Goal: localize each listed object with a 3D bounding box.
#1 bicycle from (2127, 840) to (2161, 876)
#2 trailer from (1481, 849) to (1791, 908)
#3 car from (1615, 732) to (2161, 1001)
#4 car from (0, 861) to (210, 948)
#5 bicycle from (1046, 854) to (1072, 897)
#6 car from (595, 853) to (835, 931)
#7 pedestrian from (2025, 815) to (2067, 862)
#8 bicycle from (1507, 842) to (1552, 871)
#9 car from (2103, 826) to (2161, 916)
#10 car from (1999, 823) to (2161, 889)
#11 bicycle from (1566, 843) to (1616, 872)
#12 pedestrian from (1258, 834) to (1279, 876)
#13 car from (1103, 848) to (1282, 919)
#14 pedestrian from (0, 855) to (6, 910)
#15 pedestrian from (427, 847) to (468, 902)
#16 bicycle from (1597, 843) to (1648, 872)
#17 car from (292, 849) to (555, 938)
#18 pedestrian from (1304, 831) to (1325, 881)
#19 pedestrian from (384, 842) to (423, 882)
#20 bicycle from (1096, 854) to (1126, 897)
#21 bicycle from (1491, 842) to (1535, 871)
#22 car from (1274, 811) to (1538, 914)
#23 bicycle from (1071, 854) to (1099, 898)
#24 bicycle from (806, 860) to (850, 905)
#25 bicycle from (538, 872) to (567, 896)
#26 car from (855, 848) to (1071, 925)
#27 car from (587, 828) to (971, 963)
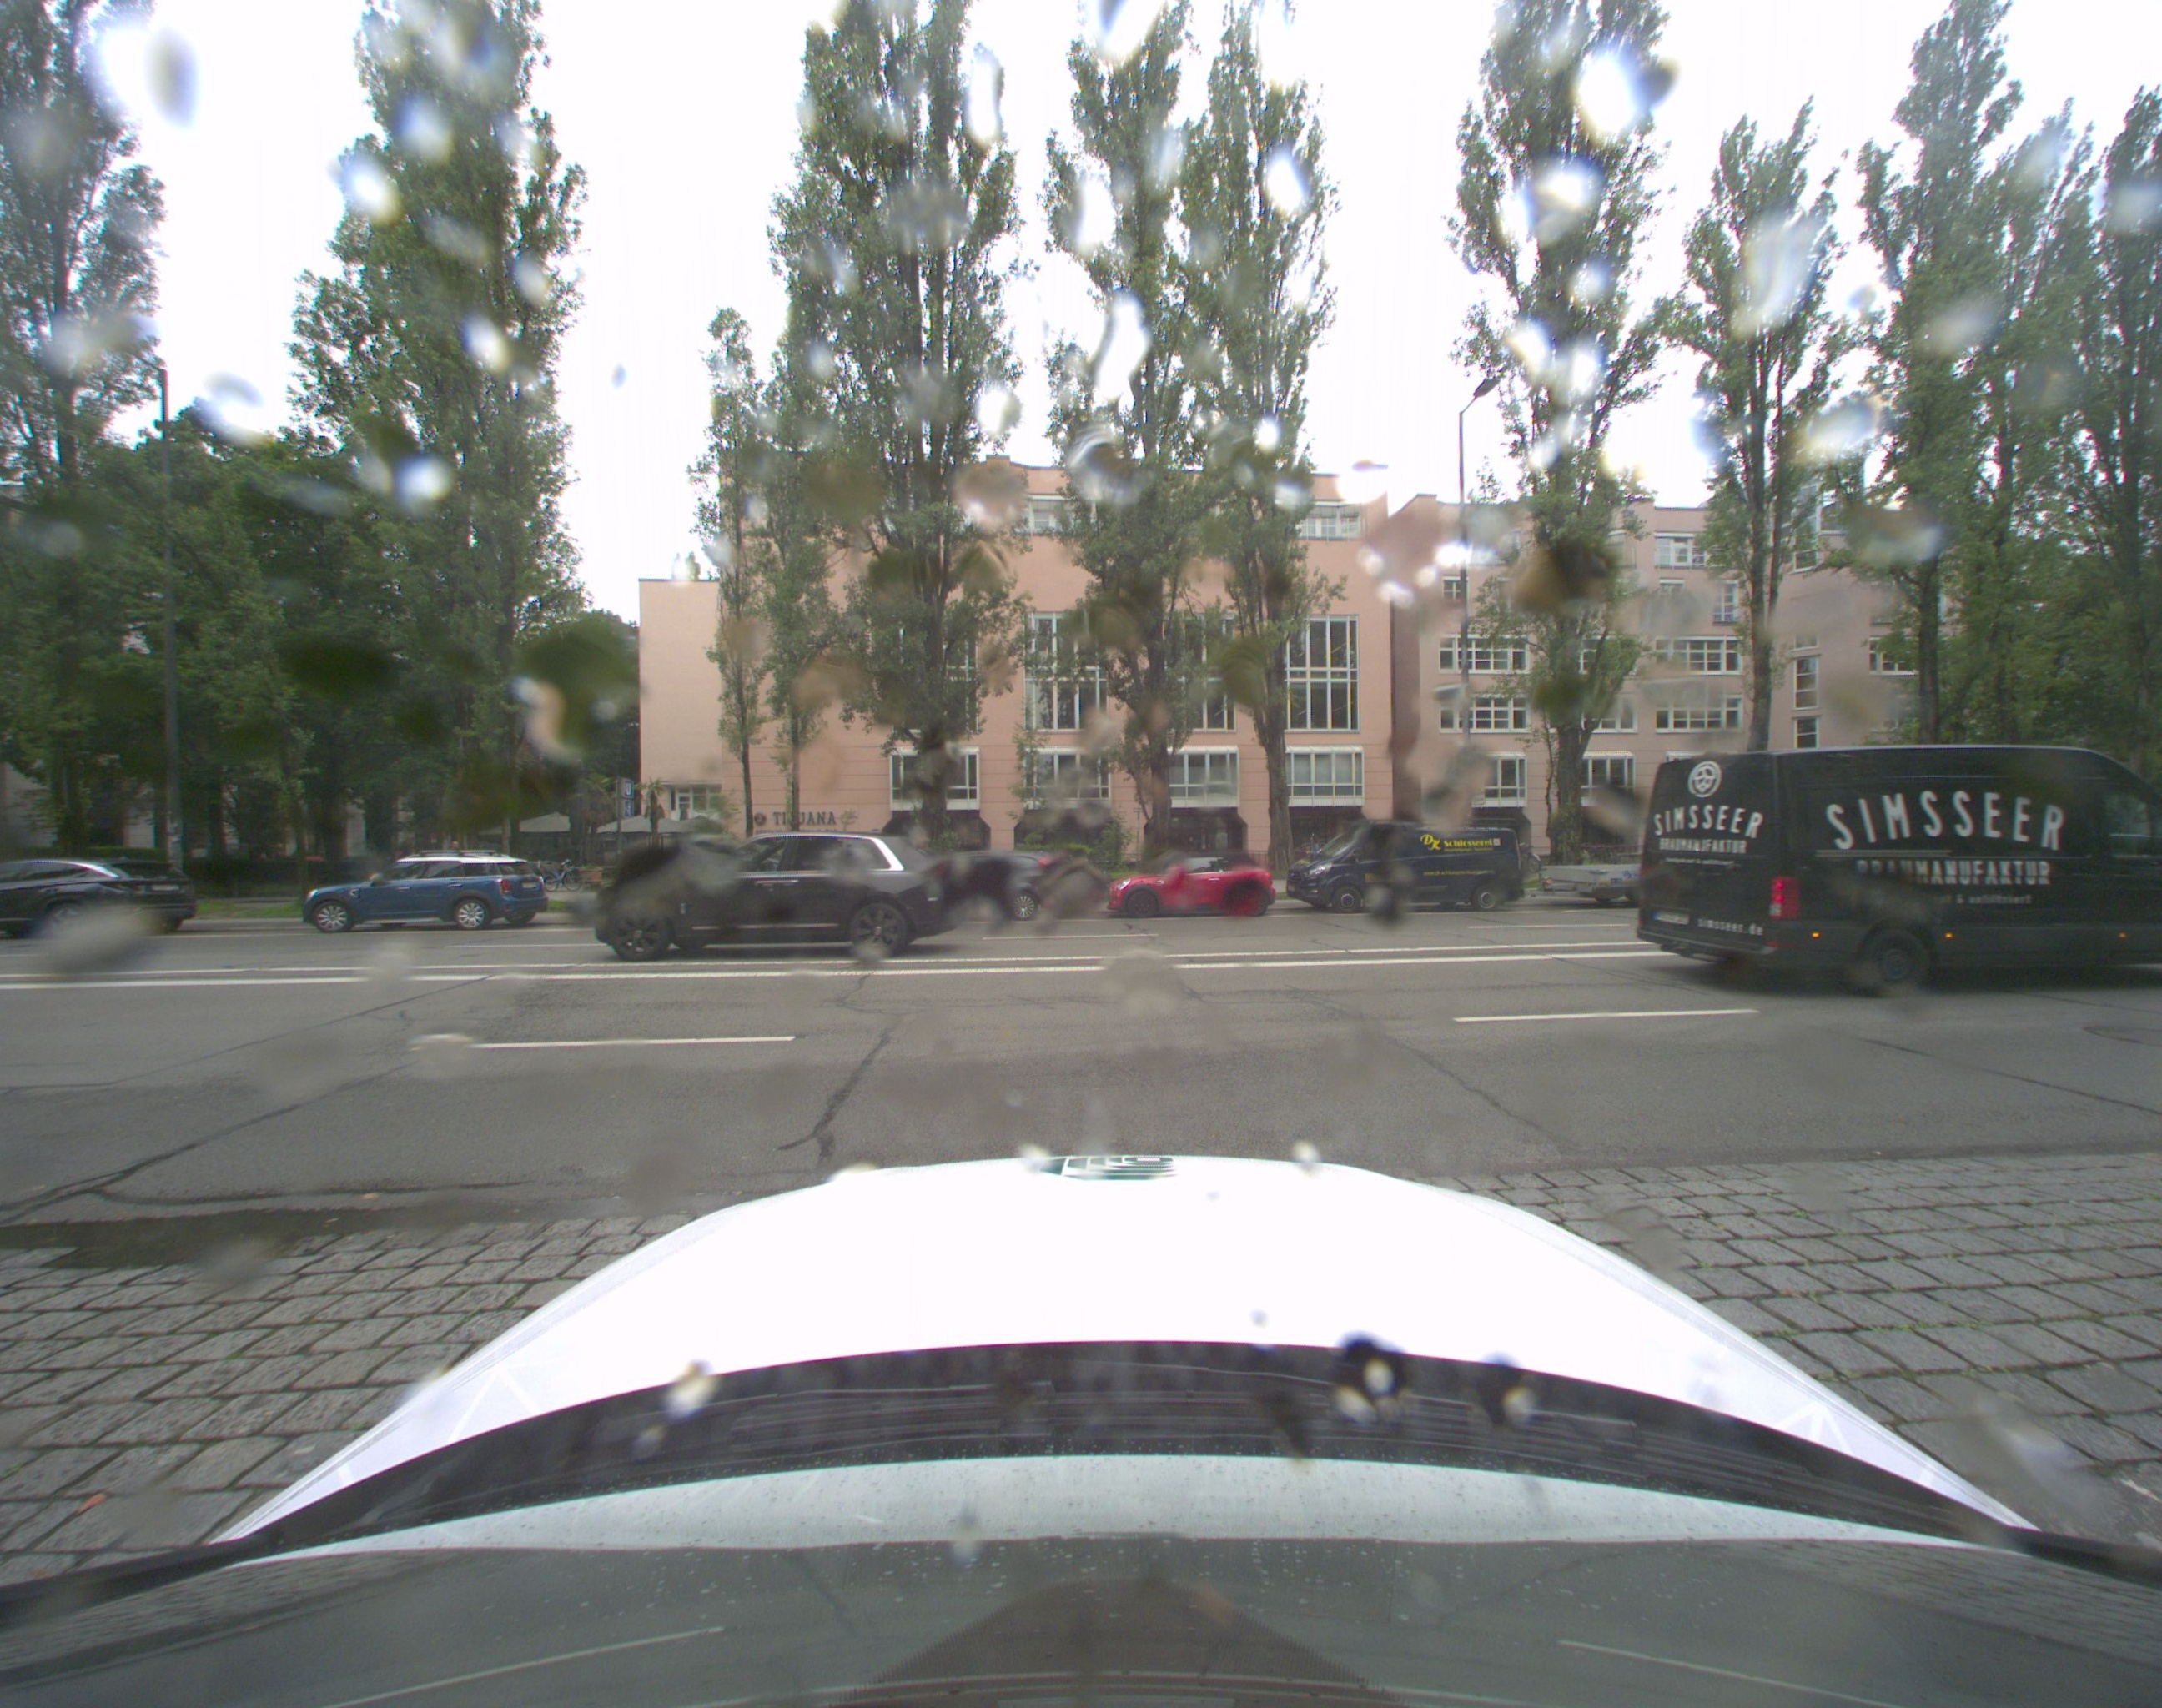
[{"bbox_3d":[34.389,0.138,25.493,0.672,1.124,1.987,-1,1,-3],"label":"bicycle"},{"bbox_3d":[13.219,0.549,19.673,6.005,1.199,2.402,-1,1,-3],"label":"trailer"},{"bbox_3d":[9.490,0.042,9.096,5.902,2.555,2.080,-1,2,-5],"label":"car"},{"bbox_3d":[-21.101,1.008,16.744,4.214,1.600,1.791,-1,1,-4],"label":"car"},{"bbox_3d":[-0.639,0.591,22.946,0.672,1.124,1.740,-1,1,-3],"label":"bicycle"},{"bbox_3d":[-8.020,0.791,18.198,4.490,1.528,1.791,-1,1,-4],"label":"car"},{"bbox_3d":[35.837,-0.570,30.241,0.728,1.713,0.708,-1,1,-3],"label":"pedestrian"},{"bbox_3d":[18.409,0.079,33.467,0.672,1.124,1.987,-1,1,-3],"label":"bicycle"},{"bbox_3d":[21.173,0.261,14.267,4.398,1.579,1.870,-1,-1,-3],"label":"car"},{"bbox_3d":[26.312,0.010,20.663,4.308,1.541,1.994,-1,1,-9],"label":"car"},{"bbox_3d":[21.014,0.139,33.589,0.672,1.124,2.105,-1,1,-3],"label":"bicycle"},{"bbox_3d":[7.886,0.039,34.205,0.705,1.713,0.732,-1,1,-1],"label":"pedestrian"},{"bbox_3d":[2.460,0.640,18.643,3.849,1.448,1.678,-1,1,-1],"label":"car"},{"bbox_3d":[-34.098,0.913,25.164,0.728,1.713,0.708,-1,1,-3],"label":"pedestrian"},{"bbox_3d":[-20.090,0.636,25.844,0.728,1.713,0.708,-1,1,-3],"label":"pedestrian"},{"bbox_3d":[22.111,0.116,33.295,0.672,1.124,1.987,-1,1,-3],"label":"bicycle"},{"bbox_3d":[-14.010,0.801,17.564,4.059,1.732,1.790,-1,-1,-5],"label":"car"},{"bbox_3d":[7.954,0.056,27.757,0.555,1.663,0.621,-1,1,0],"label":"pedestrian"},{"bbox_3d":[-23.635,0.259,28.408,0.705,1.355,0.731,-1,1,-3],"label":"pedestrian"},{"bbox_3d":[0.827,0.576,22.987,0.672,1.124,1.728,-1,1,-3],"label":"bicycle"},{"bbox_3d":[17.682,0.084,33.400,0.672,1.124,1.987,-1,1,-3],"label":"bicycle"},{"bbox_3d":[7.554,0.157,19.241,5.467,2.197,2.021,-1,1,-4],"label":"car"},{"bbox_3d":[0.096,0.596,22.967,0.672,1.124,1.740,-1,1,-3],"label":"bicycle"},{"bbox_3d":[-6.991,0.766,22.603,0.672,1.124,1.987,-1,1,-3],"label":"bicycle"},{"bbox_3d":[-18.672,1.048,28.799,0.322,0.798,1.030,-1,1,2],"label":"bicycle"},{"bbox_3d":[-2.560,0.686,18.445,4.599,1.528,1.791,-1,1,-4],"label":"car"},{"bbox_3d":[-4.262,0.574,12.283,5.041,1.749,1.996,-1,-1,-6],"label":"car"}]
